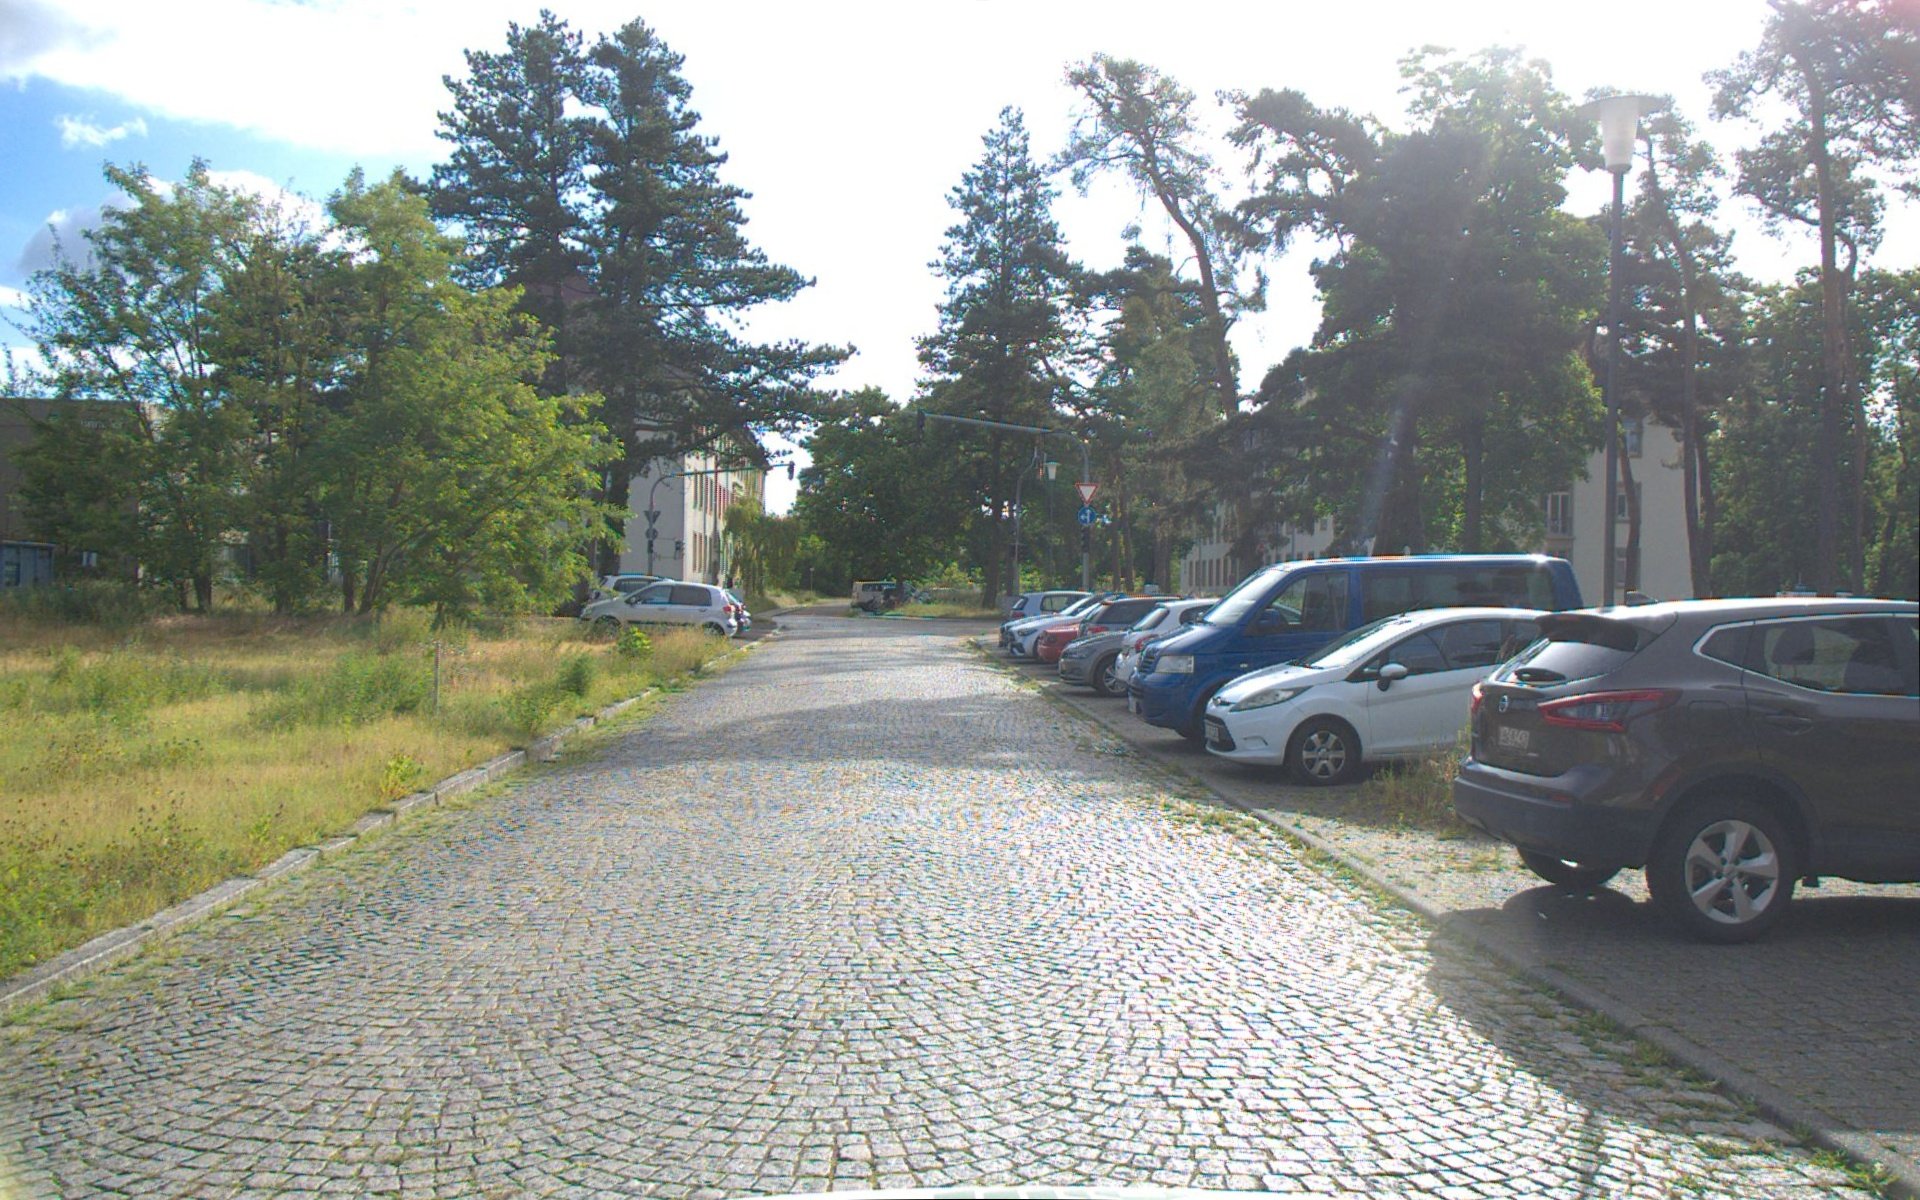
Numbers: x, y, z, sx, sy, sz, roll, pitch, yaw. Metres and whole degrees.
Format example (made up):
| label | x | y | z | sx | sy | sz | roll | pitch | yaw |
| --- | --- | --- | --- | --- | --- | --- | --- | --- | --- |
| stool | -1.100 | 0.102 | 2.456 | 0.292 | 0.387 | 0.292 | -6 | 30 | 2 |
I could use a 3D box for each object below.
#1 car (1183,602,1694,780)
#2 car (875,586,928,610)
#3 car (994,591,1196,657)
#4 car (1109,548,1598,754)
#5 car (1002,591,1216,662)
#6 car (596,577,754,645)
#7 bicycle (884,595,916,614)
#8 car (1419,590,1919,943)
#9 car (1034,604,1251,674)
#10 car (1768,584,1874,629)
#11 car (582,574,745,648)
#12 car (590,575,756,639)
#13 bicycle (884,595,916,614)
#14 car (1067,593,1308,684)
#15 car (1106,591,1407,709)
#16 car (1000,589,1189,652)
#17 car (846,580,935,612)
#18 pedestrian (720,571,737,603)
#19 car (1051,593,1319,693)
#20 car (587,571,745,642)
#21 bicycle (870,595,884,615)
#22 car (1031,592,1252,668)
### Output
| label | x | y | z | sx | sy | sz | roll | pitch | yaw |
| --- | --- | --- | --- | --- | --- | --- | --- | --- | --- |
| car | 4.249 | 0.771 | 15.022 | 4.111 | 1.495 | 1.805 | 0 | 0 | -7 |
| car | -3.704 | -0.115 | 104.422 | 2.983 | 1.491 | 1.712 | 1 | -1 | -16 |
| car | 3.124 | 0.553 | 38.693 | 4.421 | 1.499 | 1.892 | 0 | 0 | -8 |
| car | 4.051 | 0.500 | 17.524 | 4.640 | 1.962 | 1.990 | -1 | 0 | -4 |
| car | 3.180 | 0.568 | 35.914 | 4.417 | 1.499 | 1.848 | 0 | 0 | -4 |
| car | -7.258 | 0.275 | 42.413 | 3.754 | 1.454 | 1.857 | 4 | -1 | -5 |
| bicycle | -3.327 | 0.235 | 92.059 | 1.758 | 1.016 | 0.643 | 0 | 1 | -5 |
| car | 4.734 | 0.771 | 8.688 | 4.108 | 1.616 | 1.876 | 0 | 0 | -5 |
| car | 3.399 | 0.727 | 31.273 | 3.872 | 1.283 | 1.725 | 0 | 0 | -3 |
| car | 50.772 | 0.381 | 97.585 | 5.055 | 2.580 | 2.263 | 1 | 0 | -2 |
| car | -7.064 | 0.269 | 39.766 | 3.612 | 1.499 | 1.847 | 4 | -1 | -5 |
| car | -8.192 | 0.198 | 47.595 | 4.499 | 1.480 | 1.901 | 4 | 1 | -6 |
| bicycle | -3.389 | 0.239 | 93.077 | 1.758 | 1.016 | 0.643 | 0 | 1 | -5 |
| car | 3.888 | 0.646 | 28.663 | 3.872 | 1.521 | 1.771 | 0 | 0 | -3 |
| car | 4.035 | 0.670 | 22.884 | 3.797 | 1.557 | 1.806 | 0 | 0 | -3 |
| car | 3.314 | 0.499 | 41.335 | 4.455 | 1.531 | 1.931 | 0 | 0 | -6 |
| car | -4.569 | -0.247 | 107.937 | 5.414 | 1.949 | 2.243 | 1 | 0 | -18 |
| pedestrian | -14.504 | -0.811 | 103.696 | 0.966 | 1.998 | 0.932 | 1 | -1 | -4 |
| car | 3.433 | 0.645 | 25.706 | 3.872 | 1.493 | 1.829 | 0 | 0 | -3 |
| car | -7.953 | 0.174 | 45.065 | 4.045 | 1.627 | 1.855 | 4 | -1 | -8 |
| bicycle | -4.456 | 0.239 | 88.389 | 0.713 | 1.016 | 1.798 | 0 | 1 | -3 |
| car | 3.645 | 0.597 | 33.671 | 4.255 | 1.499 | 1.738 | 0 | 0 | -4 |
